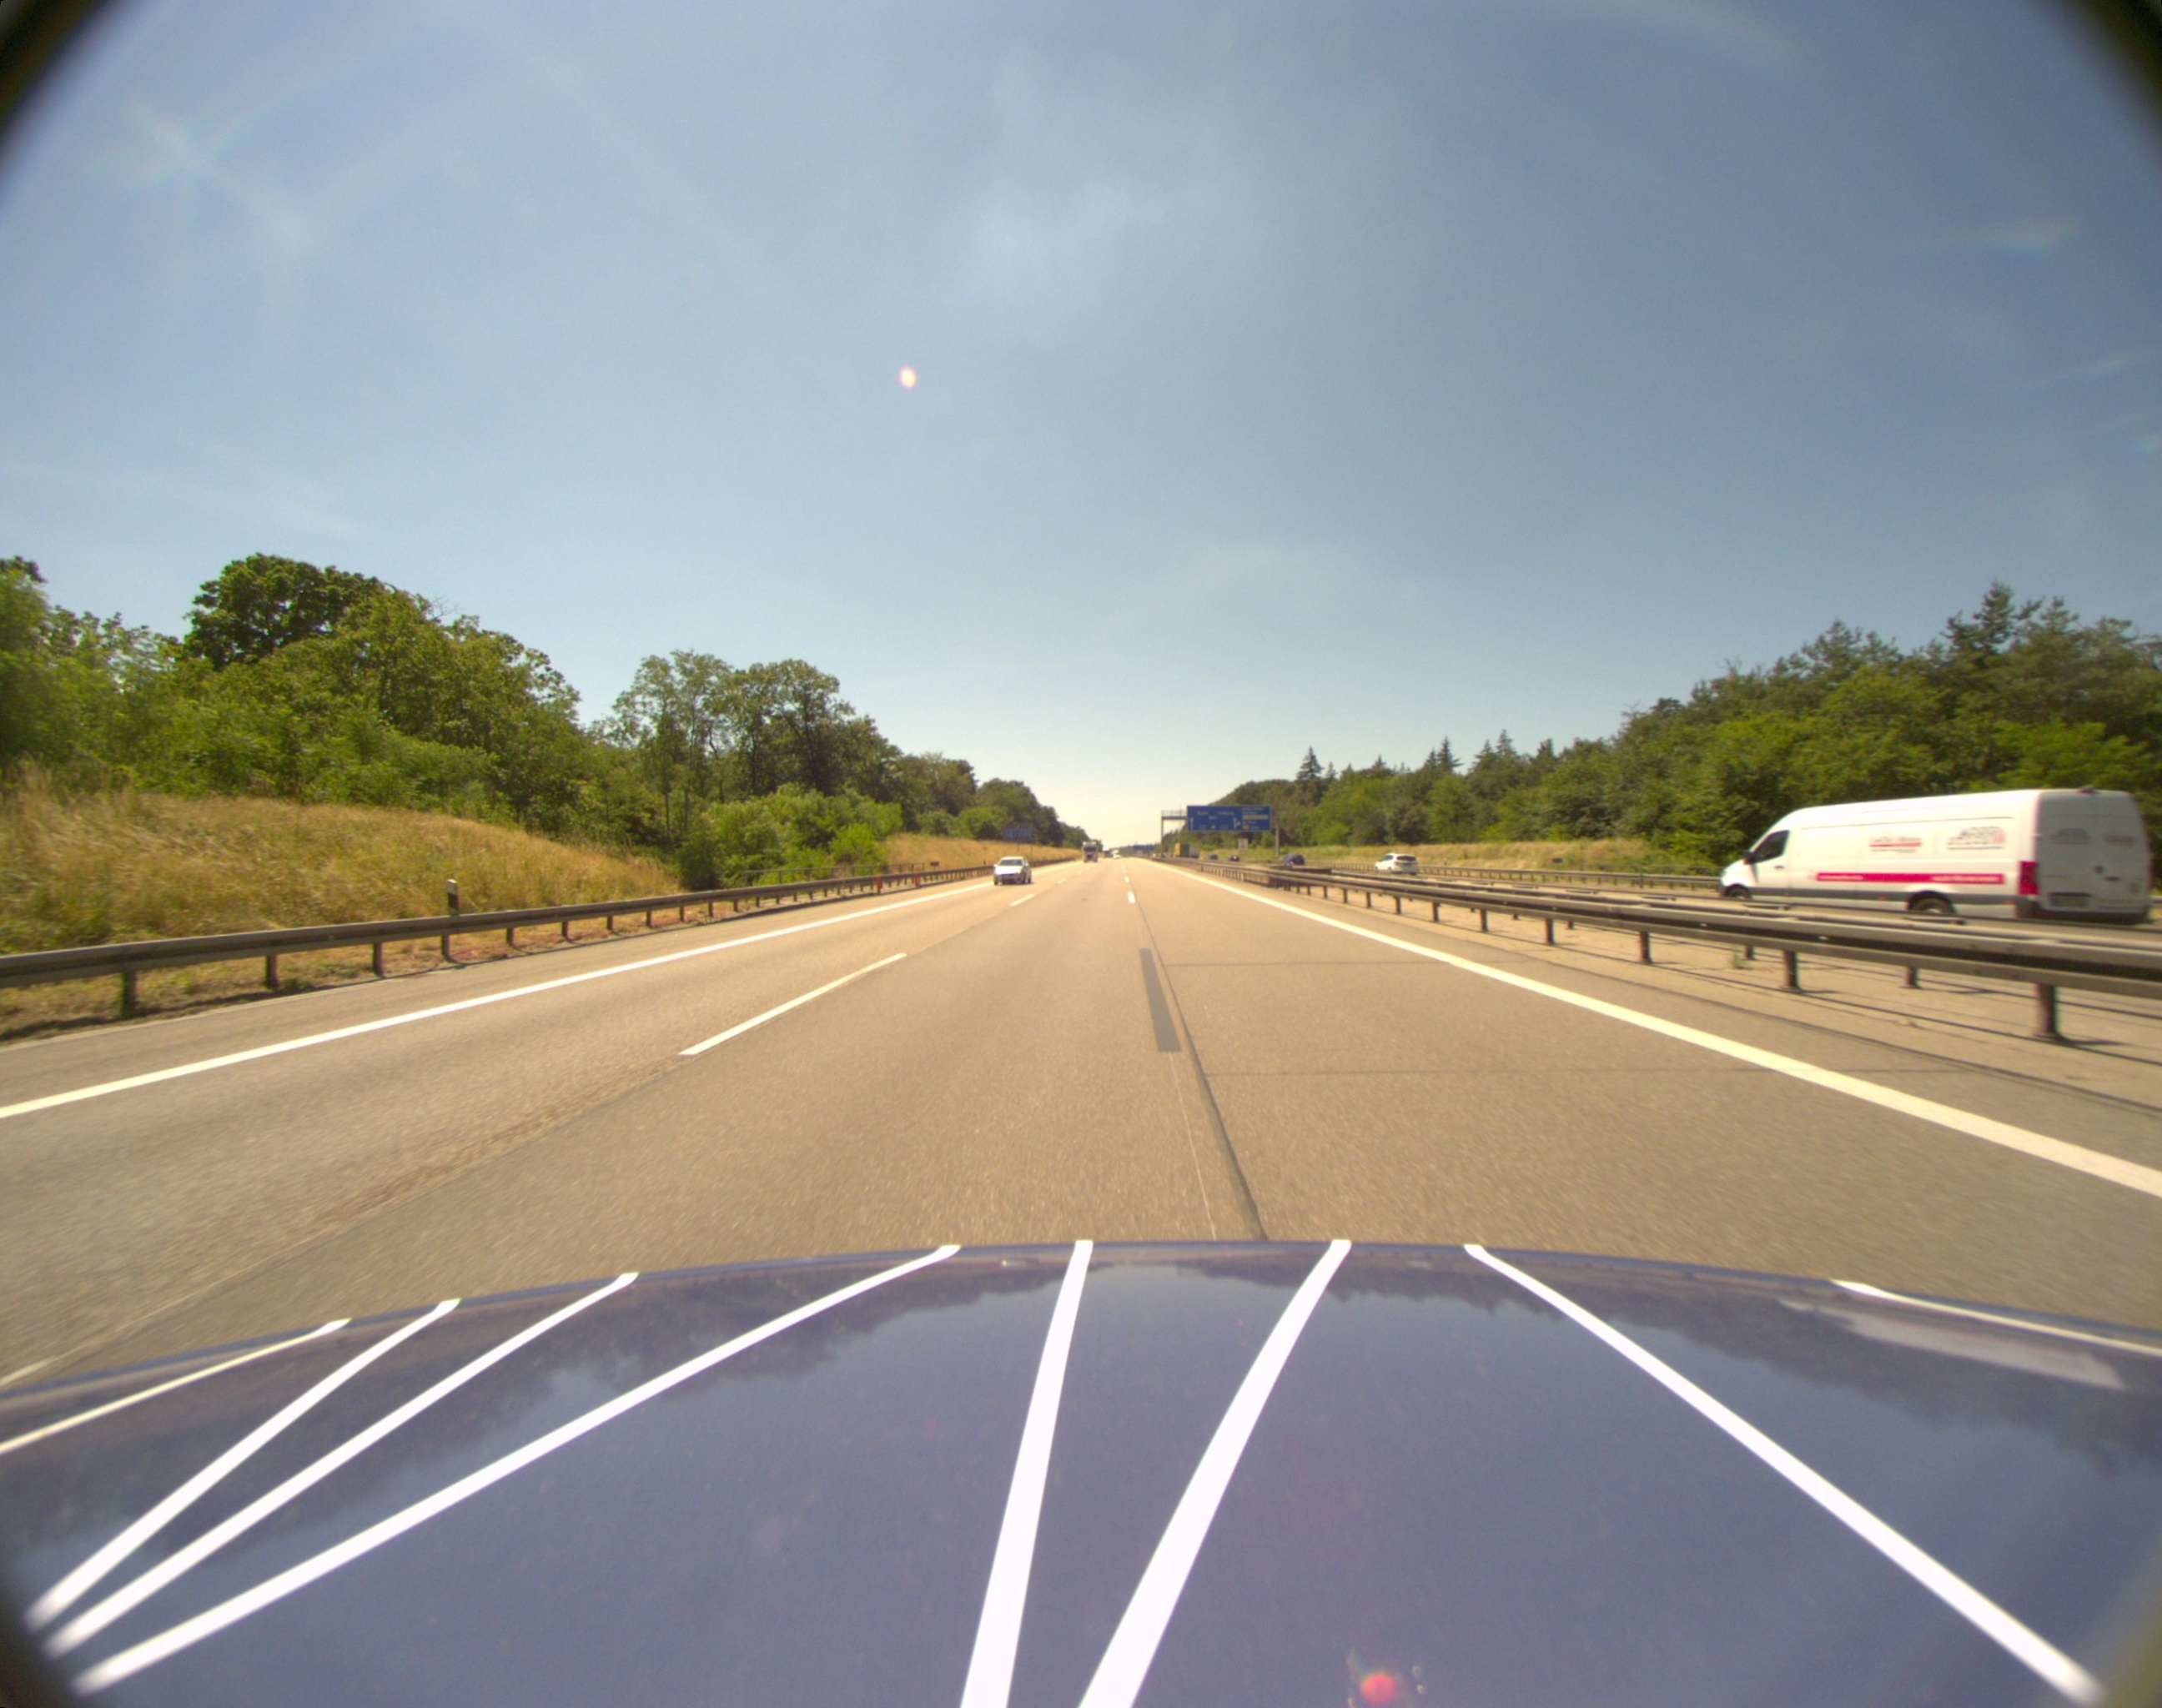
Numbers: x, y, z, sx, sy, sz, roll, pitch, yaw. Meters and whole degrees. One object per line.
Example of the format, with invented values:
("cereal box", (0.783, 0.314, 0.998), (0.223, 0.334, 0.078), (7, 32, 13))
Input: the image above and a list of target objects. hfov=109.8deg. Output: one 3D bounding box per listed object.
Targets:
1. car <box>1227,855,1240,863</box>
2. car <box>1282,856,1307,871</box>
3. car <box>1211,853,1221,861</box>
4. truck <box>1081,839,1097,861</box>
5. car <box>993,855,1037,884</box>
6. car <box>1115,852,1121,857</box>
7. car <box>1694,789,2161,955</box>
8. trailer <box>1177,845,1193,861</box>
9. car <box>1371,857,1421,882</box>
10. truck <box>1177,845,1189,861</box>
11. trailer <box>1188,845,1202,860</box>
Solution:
("car", (27.456, 0.817, 136.929), (1.679, 1.357, 4.890), (2, 0, 3))
("car", (24.406, 1.052, 86.901), (1.706, 1.536, 4.536), (2, 0, 3))
("car", (29.222, 0.661, 164.809), (1.527, 1.531, 4.111), (2, 0, 3))
("truck", (1.587, -0.714, 142.503), (2.605, 3.811, 5.970), (-2, 0, 3))
("car", (-3.556, 0.809, 41.612), (1.749, 1.457, 3.981), (-2, 0, 4))
("car", (11.028, 0.179, 225.331), (1.796, 1.412, 4.000), (-2, 0, 2))
("car", (16.905, 0.297, 15.963), (2.170, 2.609, 7.545), (2, 0, 3))
("trailer", (26.393, -0.250, 193.202), (2.469, 4.049, 14.282), (2, 0, 3))
("car", (23.009, 1.067, 55.707), (1.706, 1.651, 5.117), (2, 0, 3))
("truck", (26.687, -0.238, 199.726), (2.469, 4.049, 6.288), (2, 0, 3))
("trailer", (31.886, -0.469, 212.213), (2.631, 3.925, 11.160), (2, 0, 3))
